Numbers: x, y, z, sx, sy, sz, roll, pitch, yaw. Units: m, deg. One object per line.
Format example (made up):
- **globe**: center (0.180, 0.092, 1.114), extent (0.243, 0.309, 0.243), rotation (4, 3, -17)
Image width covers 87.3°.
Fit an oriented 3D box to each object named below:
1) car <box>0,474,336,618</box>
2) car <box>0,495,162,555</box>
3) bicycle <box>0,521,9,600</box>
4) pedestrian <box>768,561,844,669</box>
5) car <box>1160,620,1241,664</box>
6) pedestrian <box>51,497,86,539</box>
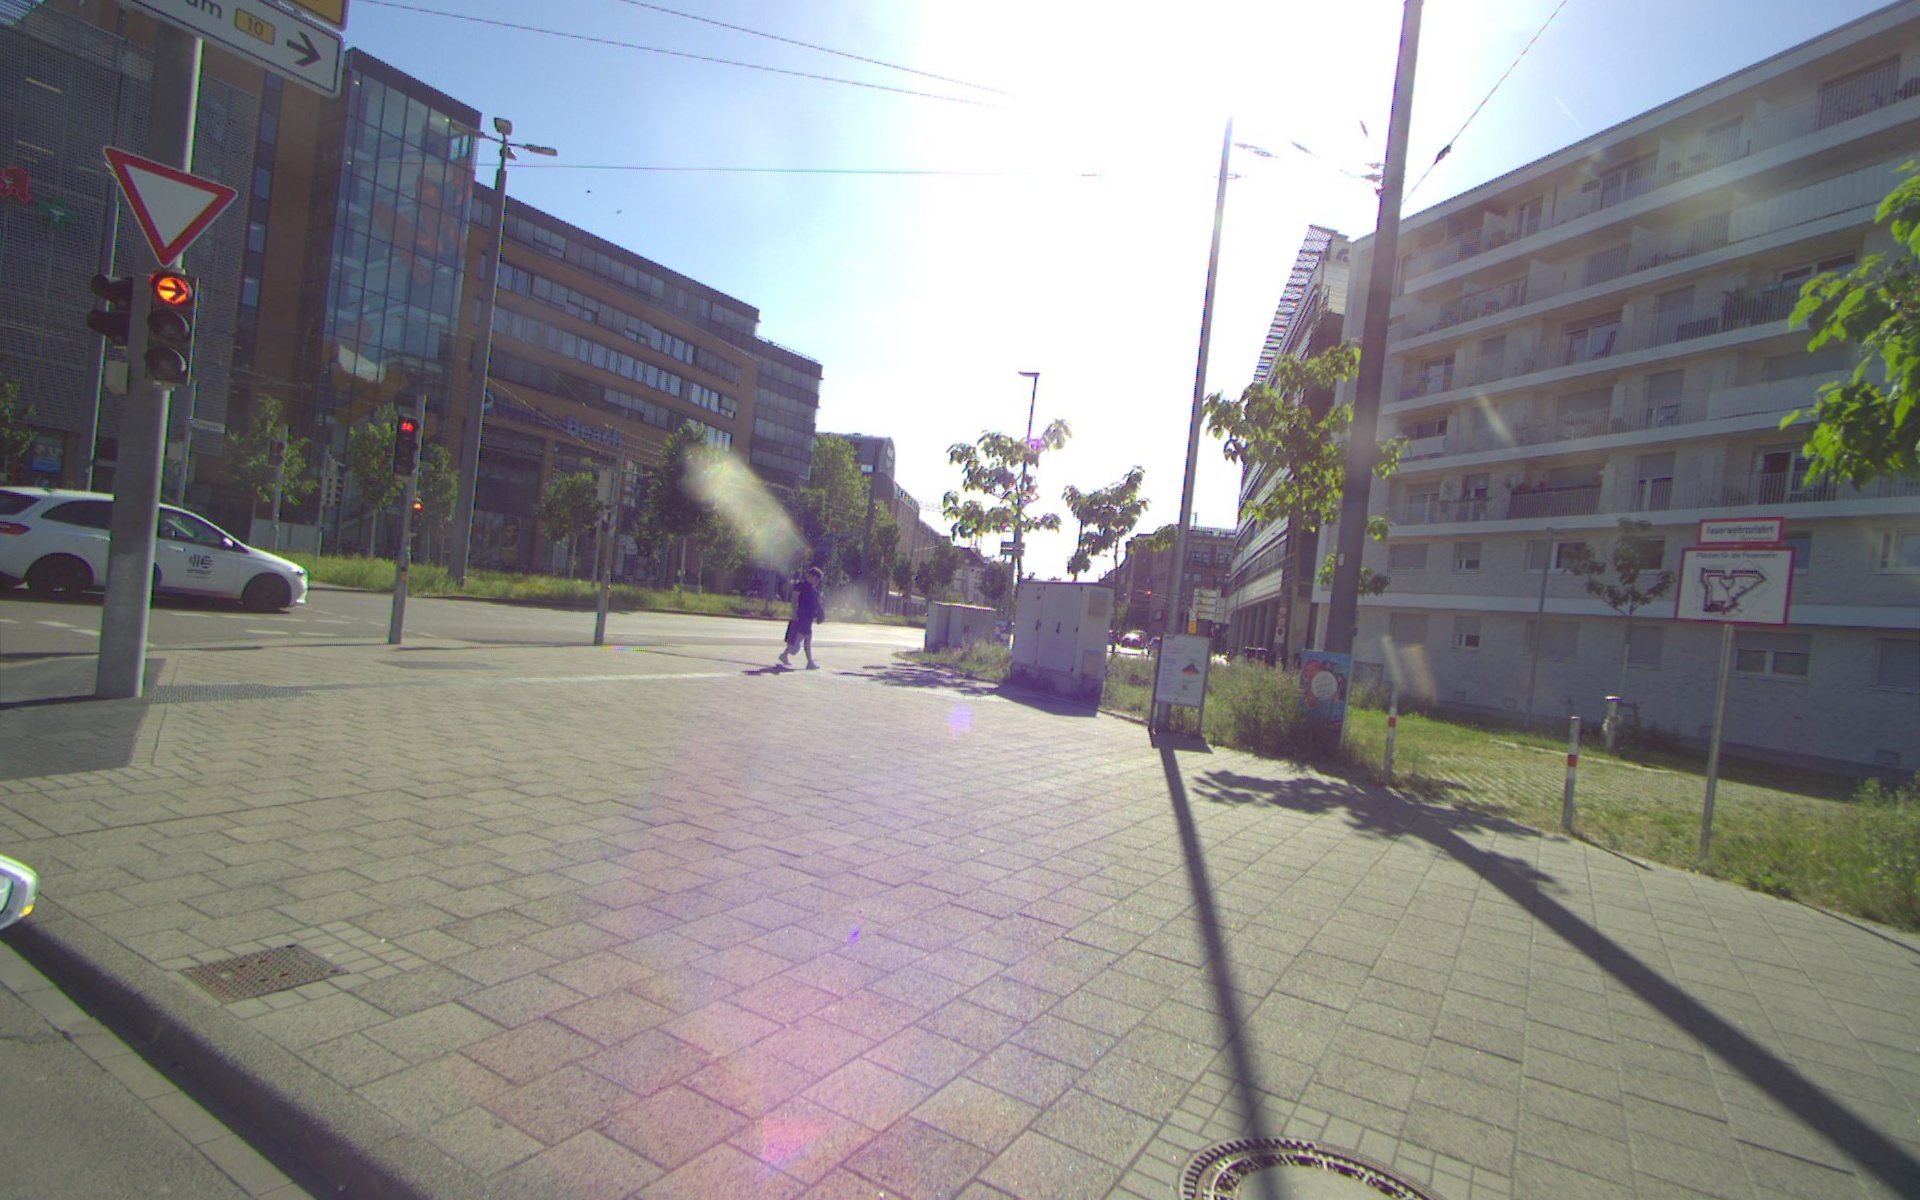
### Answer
- **car**: center (-12.481, -0.777, 15.469), extent (1.807, 1.654, 4.500), rotation (8, 0, 27)
- **car**: center (-31.925, -2.695, 36.387), extent (1.470, 1.513, 4.493), rotation (7, -1, 32)
- **bicycle**: center (-11.656, -0.443, 10.834), extent (0.839, 1.129, 1.832), rotation (7, -1, 32)
- **pedestrian**: center (-2.605, 0.263, 17.094), extent (0.749, 1.729, 0.807), rotation (7, 0, 31)
- **car**: center (13.926, 2.401, 58.359), extent (3.929, 2.038, 1.999), rotation (7, 0, -5)
- **pedestrian**: center (-40.520, -3.713, 45.715), extent (0.740, 1.759, 0.855), rotation (7, 0, 25)
